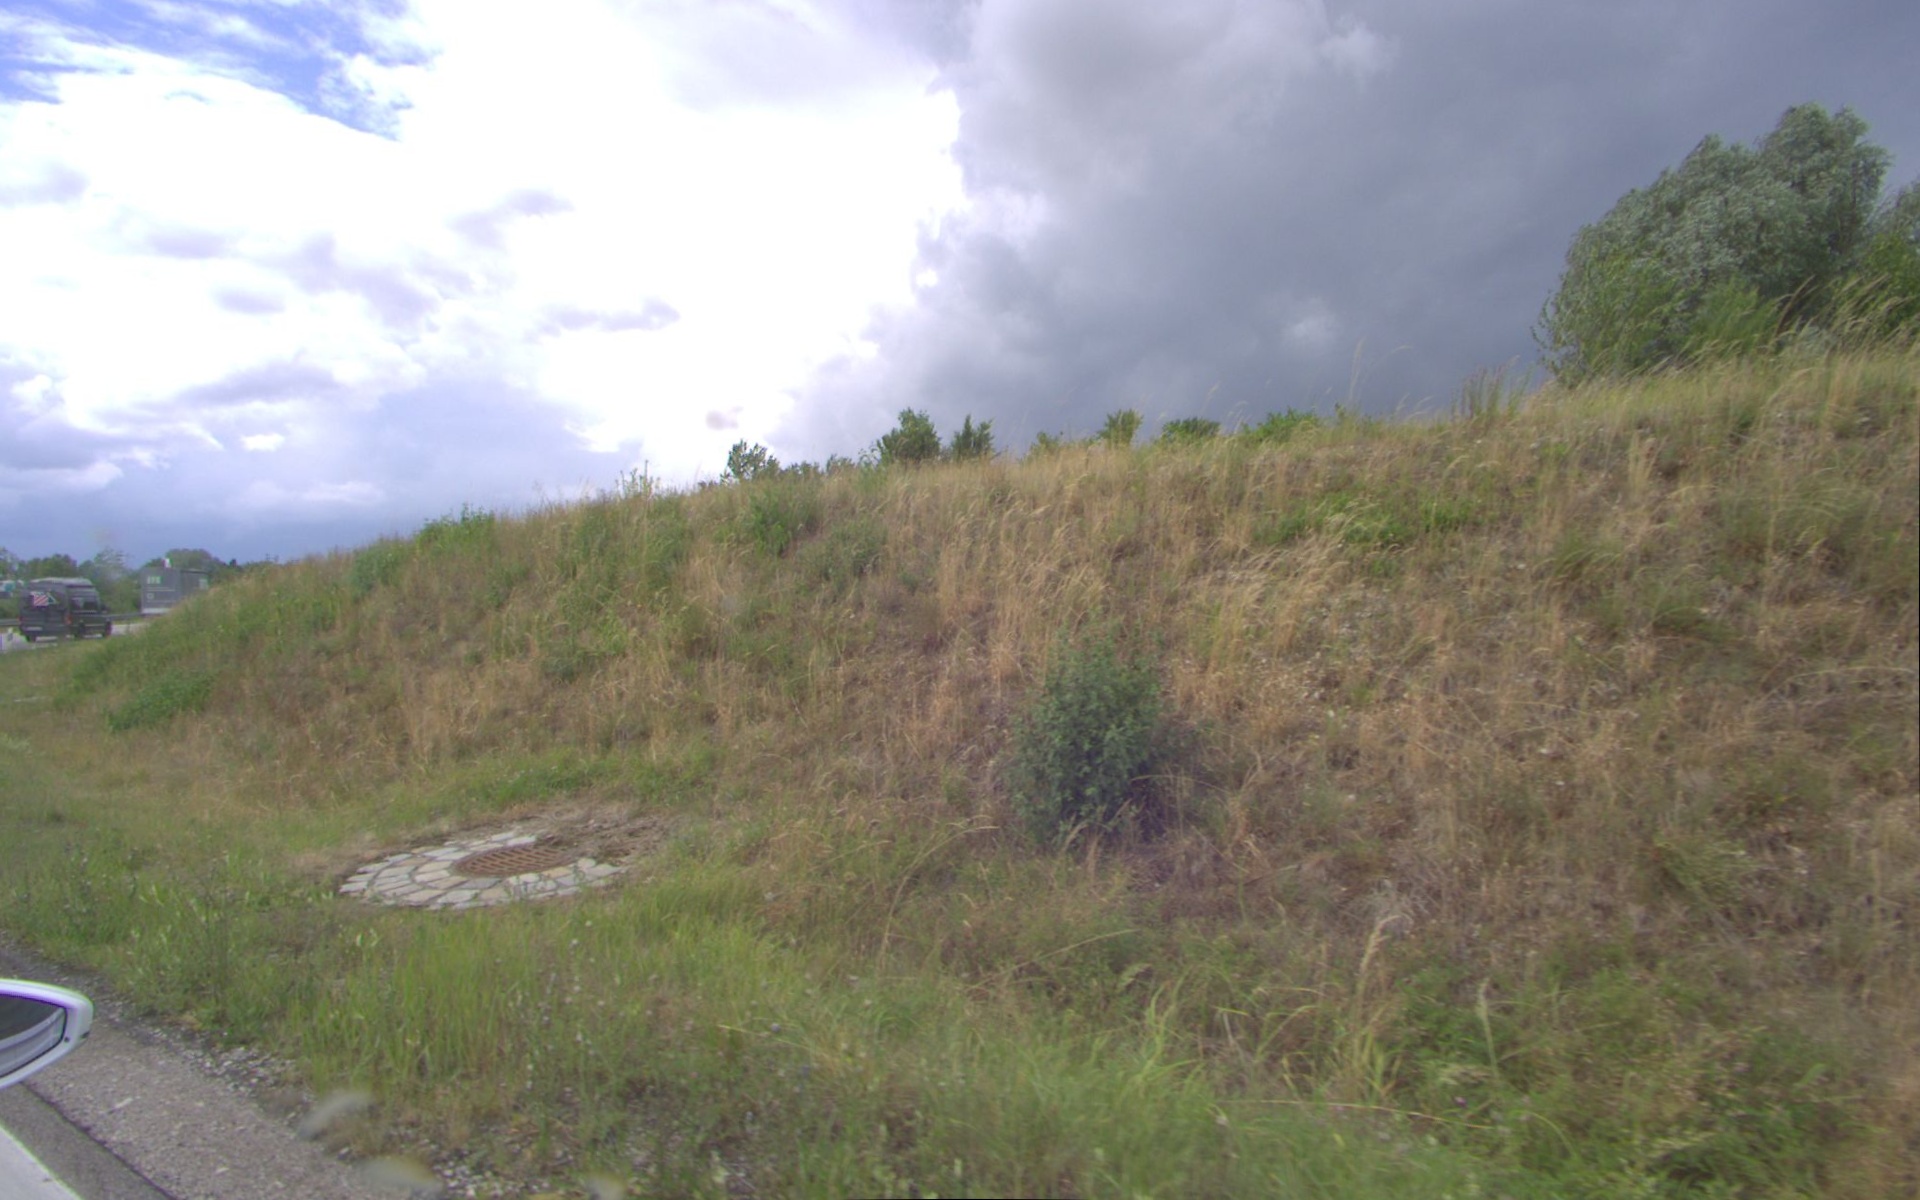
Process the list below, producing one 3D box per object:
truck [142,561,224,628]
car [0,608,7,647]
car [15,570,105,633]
[{"bbox_3d":[-49.707,-0.261,64.236,2.197,3.955,6.007,0,-2,-18],"label":"truck"},{"bbox_3d":[-38.093,1.051,38.072,1.846,1.529,3.979,0,-1,-31],"label":"car"},{"bbox_3d":[-42.474,0.127,47.360,2.079,2.832,3.985,1,-1,-26],"label":"car"}]
